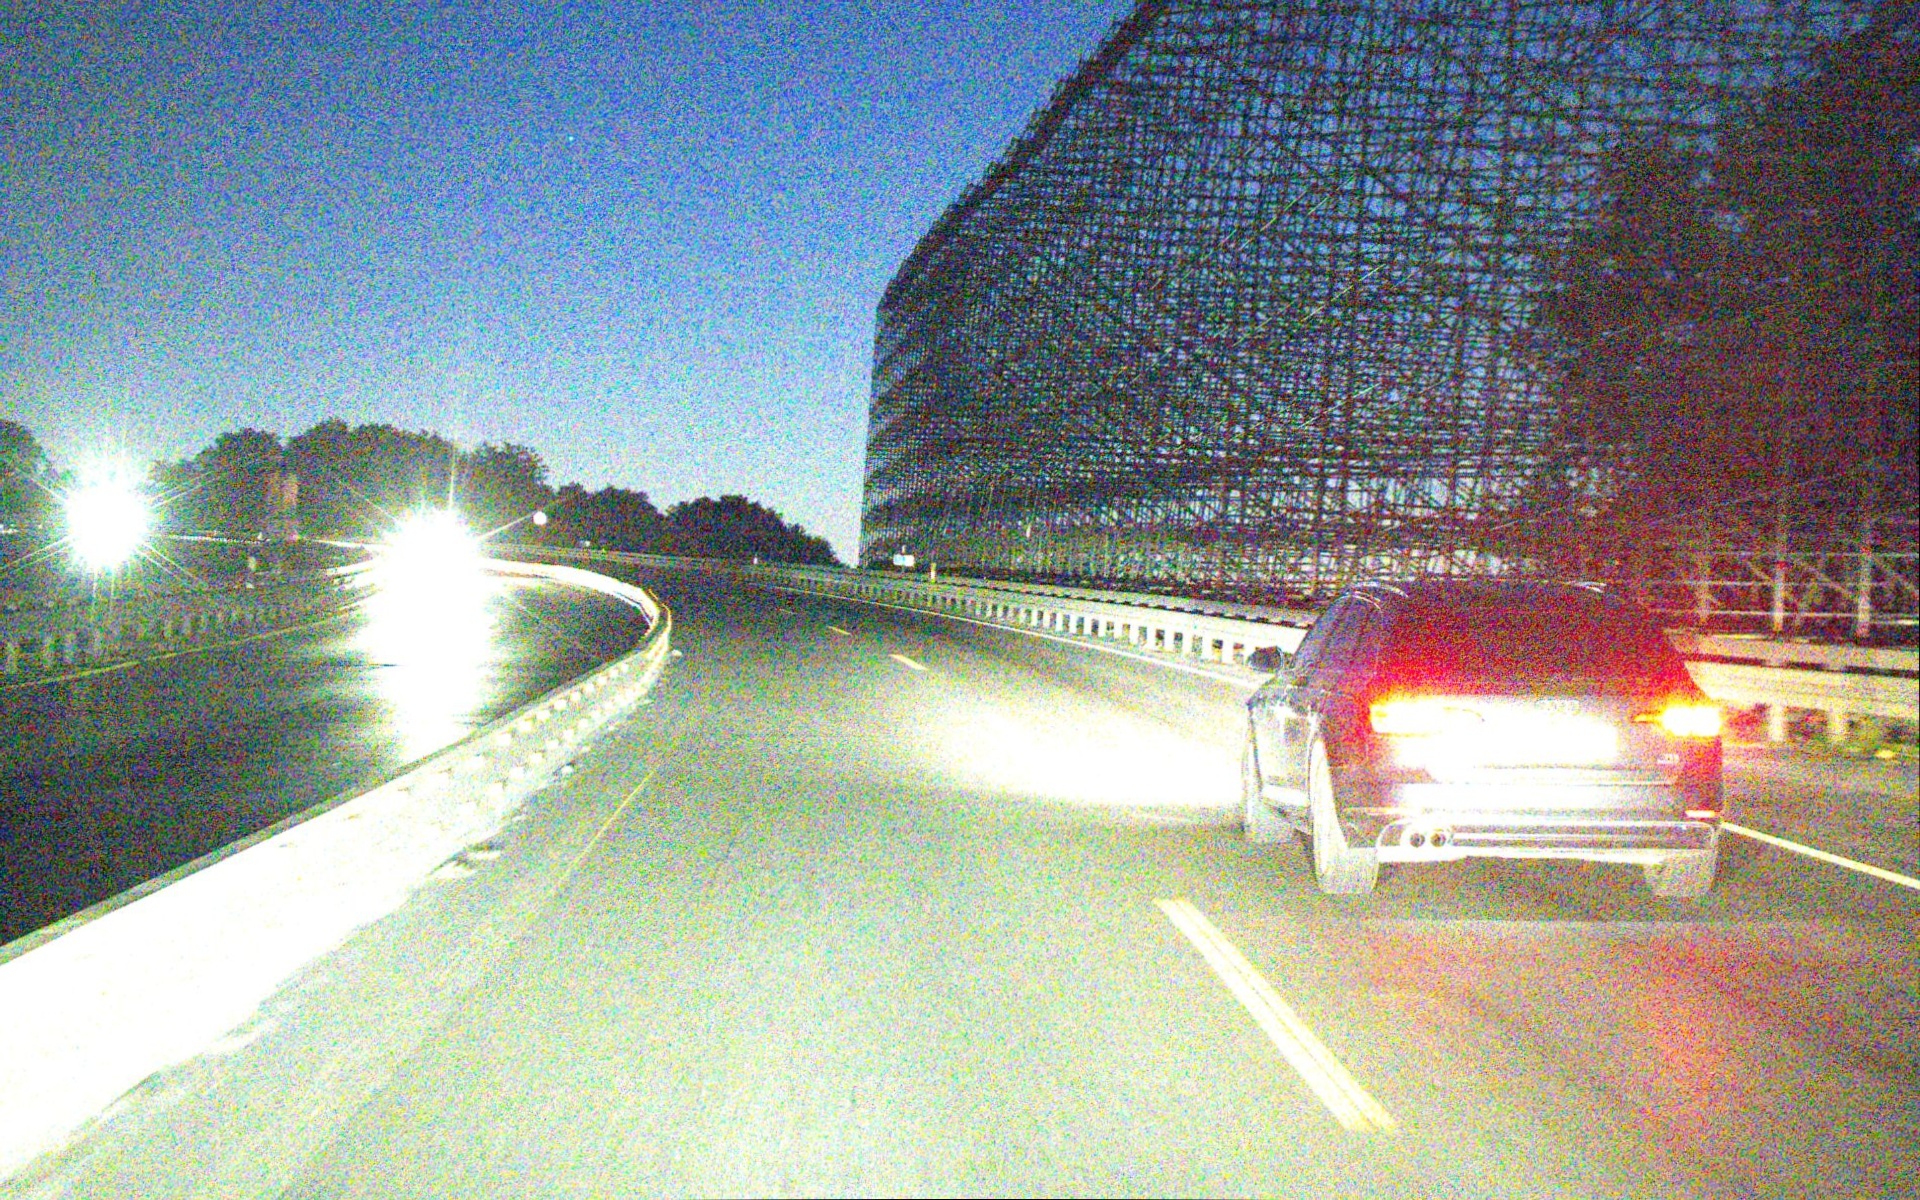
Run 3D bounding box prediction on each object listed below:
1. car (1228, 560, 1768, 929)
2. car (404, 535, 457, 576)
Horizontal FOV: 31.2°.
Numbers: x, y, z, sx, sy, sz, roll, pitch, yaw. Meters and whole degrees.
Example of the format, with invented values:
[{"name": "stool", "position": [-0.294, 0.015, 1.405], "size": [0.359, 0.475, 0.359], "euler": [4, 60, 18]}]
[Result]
[{"name": "car", "position": [2.451, 0.583, 16.903], "size": [1.808, 1.421, 4.875], "euler": [1, 2, -1]}, {"name": "car", "position": [-22.079, -1.840, 143.228], "size": [2.012, 1.634, 4.864], "euler": [1, 0, -10]}]
